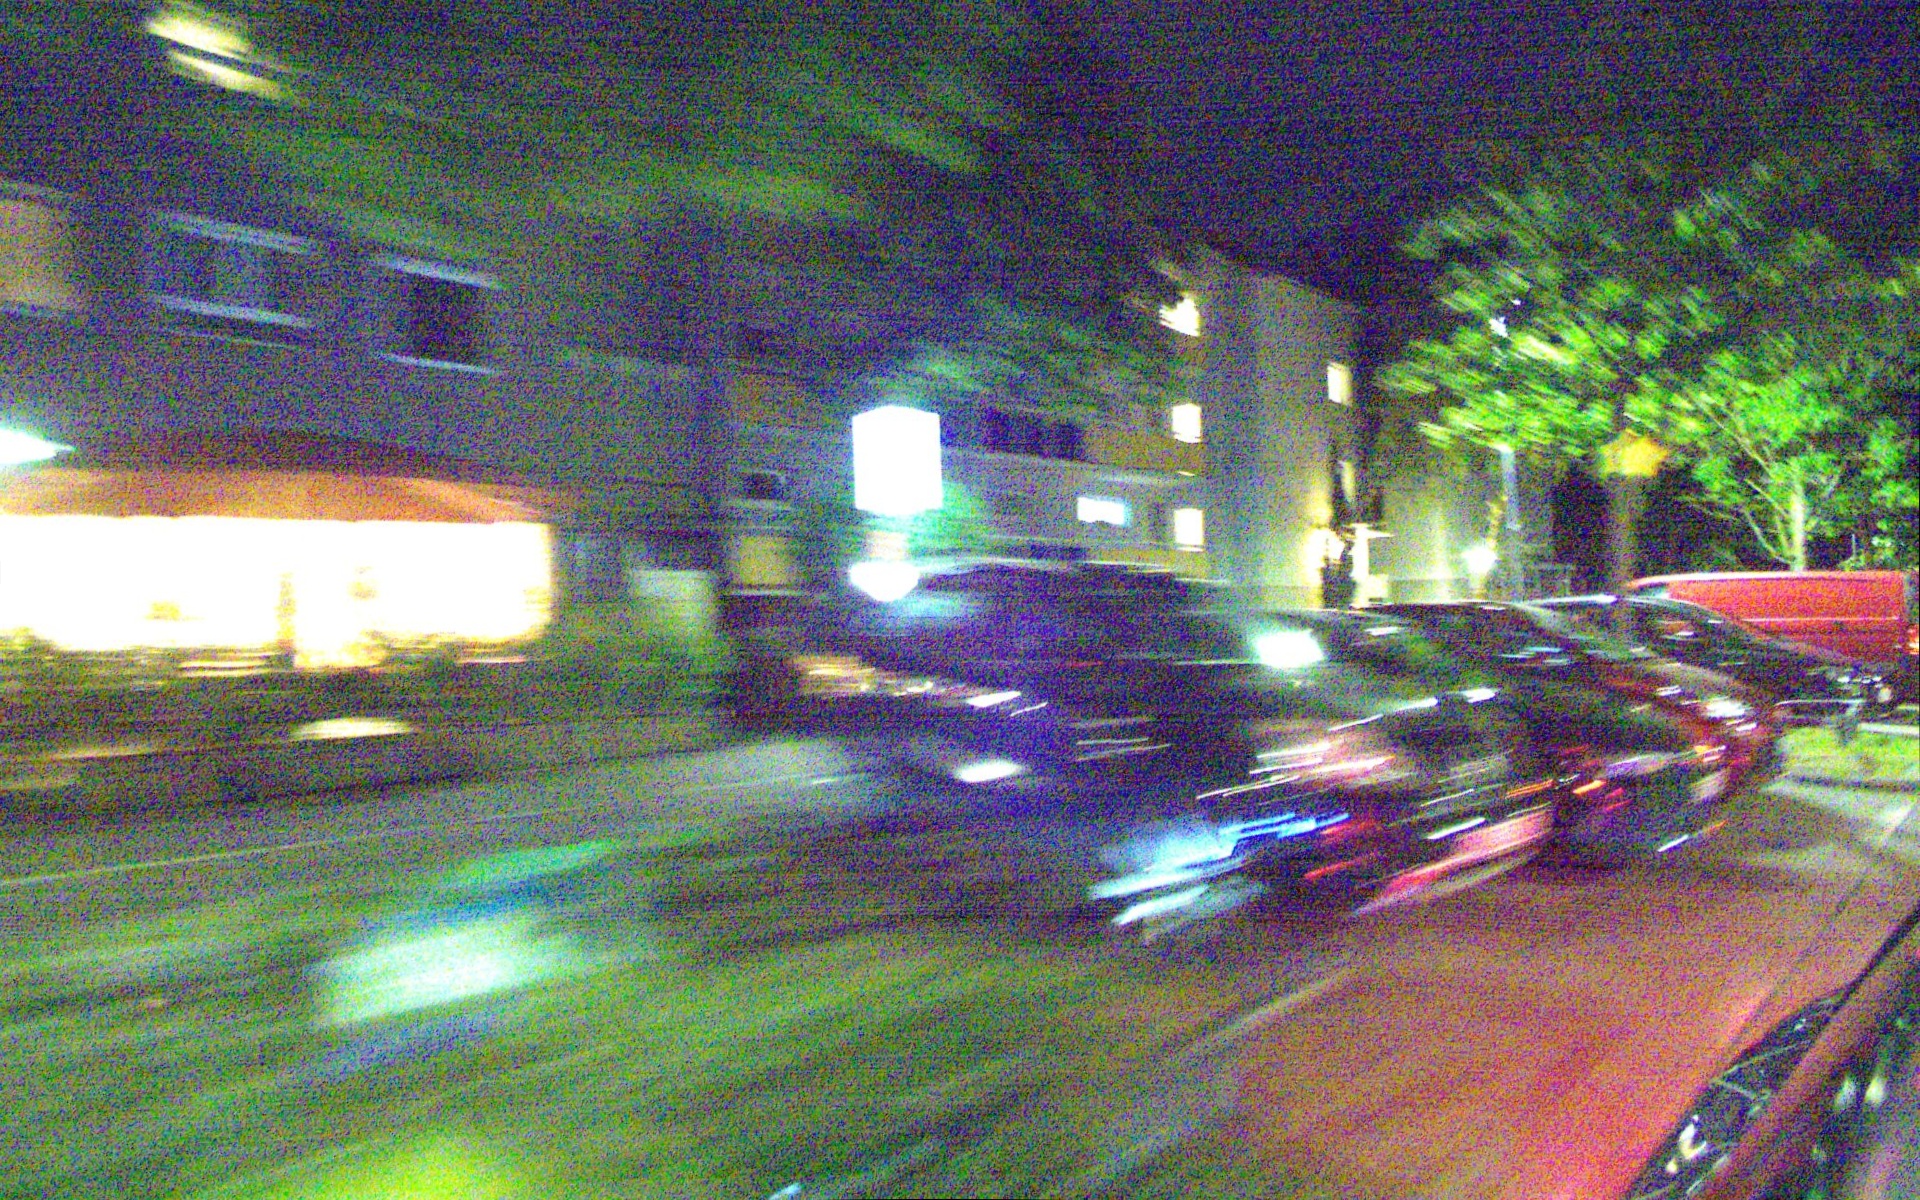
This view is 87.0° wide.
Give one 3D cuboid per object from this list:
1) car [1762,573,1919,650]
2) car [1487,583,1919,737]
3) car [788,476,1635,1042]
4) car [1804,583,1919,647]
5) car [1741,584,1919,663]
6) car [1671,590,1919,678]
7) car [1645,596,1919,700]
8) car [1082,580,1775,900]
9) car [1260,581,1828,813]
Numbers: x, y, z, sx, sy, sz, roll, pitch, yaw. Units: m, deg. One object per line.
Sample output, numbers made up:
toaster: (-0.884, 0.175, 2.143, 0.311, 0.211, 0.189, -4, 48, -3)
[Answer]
car: (26.495, 0.315, 29.034, 2.221, 2.123, 5.150, 0, 0, -41)
car: (8.964, 0.615, 12.474, 1.950, 1.571, 3.927, 0, 0, -37)
car: (0.900, 0.519, 5.665, 1.993, 1.839, 4.368, 0, 0, -35)
car: (28.938, 0.435, 30.471, 2.221, 1.868, 5.150, 0, 0, -41)
car: (21.135, 0.525, 23.496, 1.960, 1.719, 4.293, 0, -1, -31)
car: (17.092, 0.625, 19.912, 2.068, 1.577, 4.665, 0, -1, -38)
car: (13.338, 0.662, 15.473, 1.900, 1.438, 4.407, 0, 0, -39)
car: (2.929, 0.675, 6.914, 1.824, 1.533, 3.918, 0, 0, -44)
car: (4.858, 0.639, 8.835, 1.823, 1.533, 3.921, -1, 1, -42)
